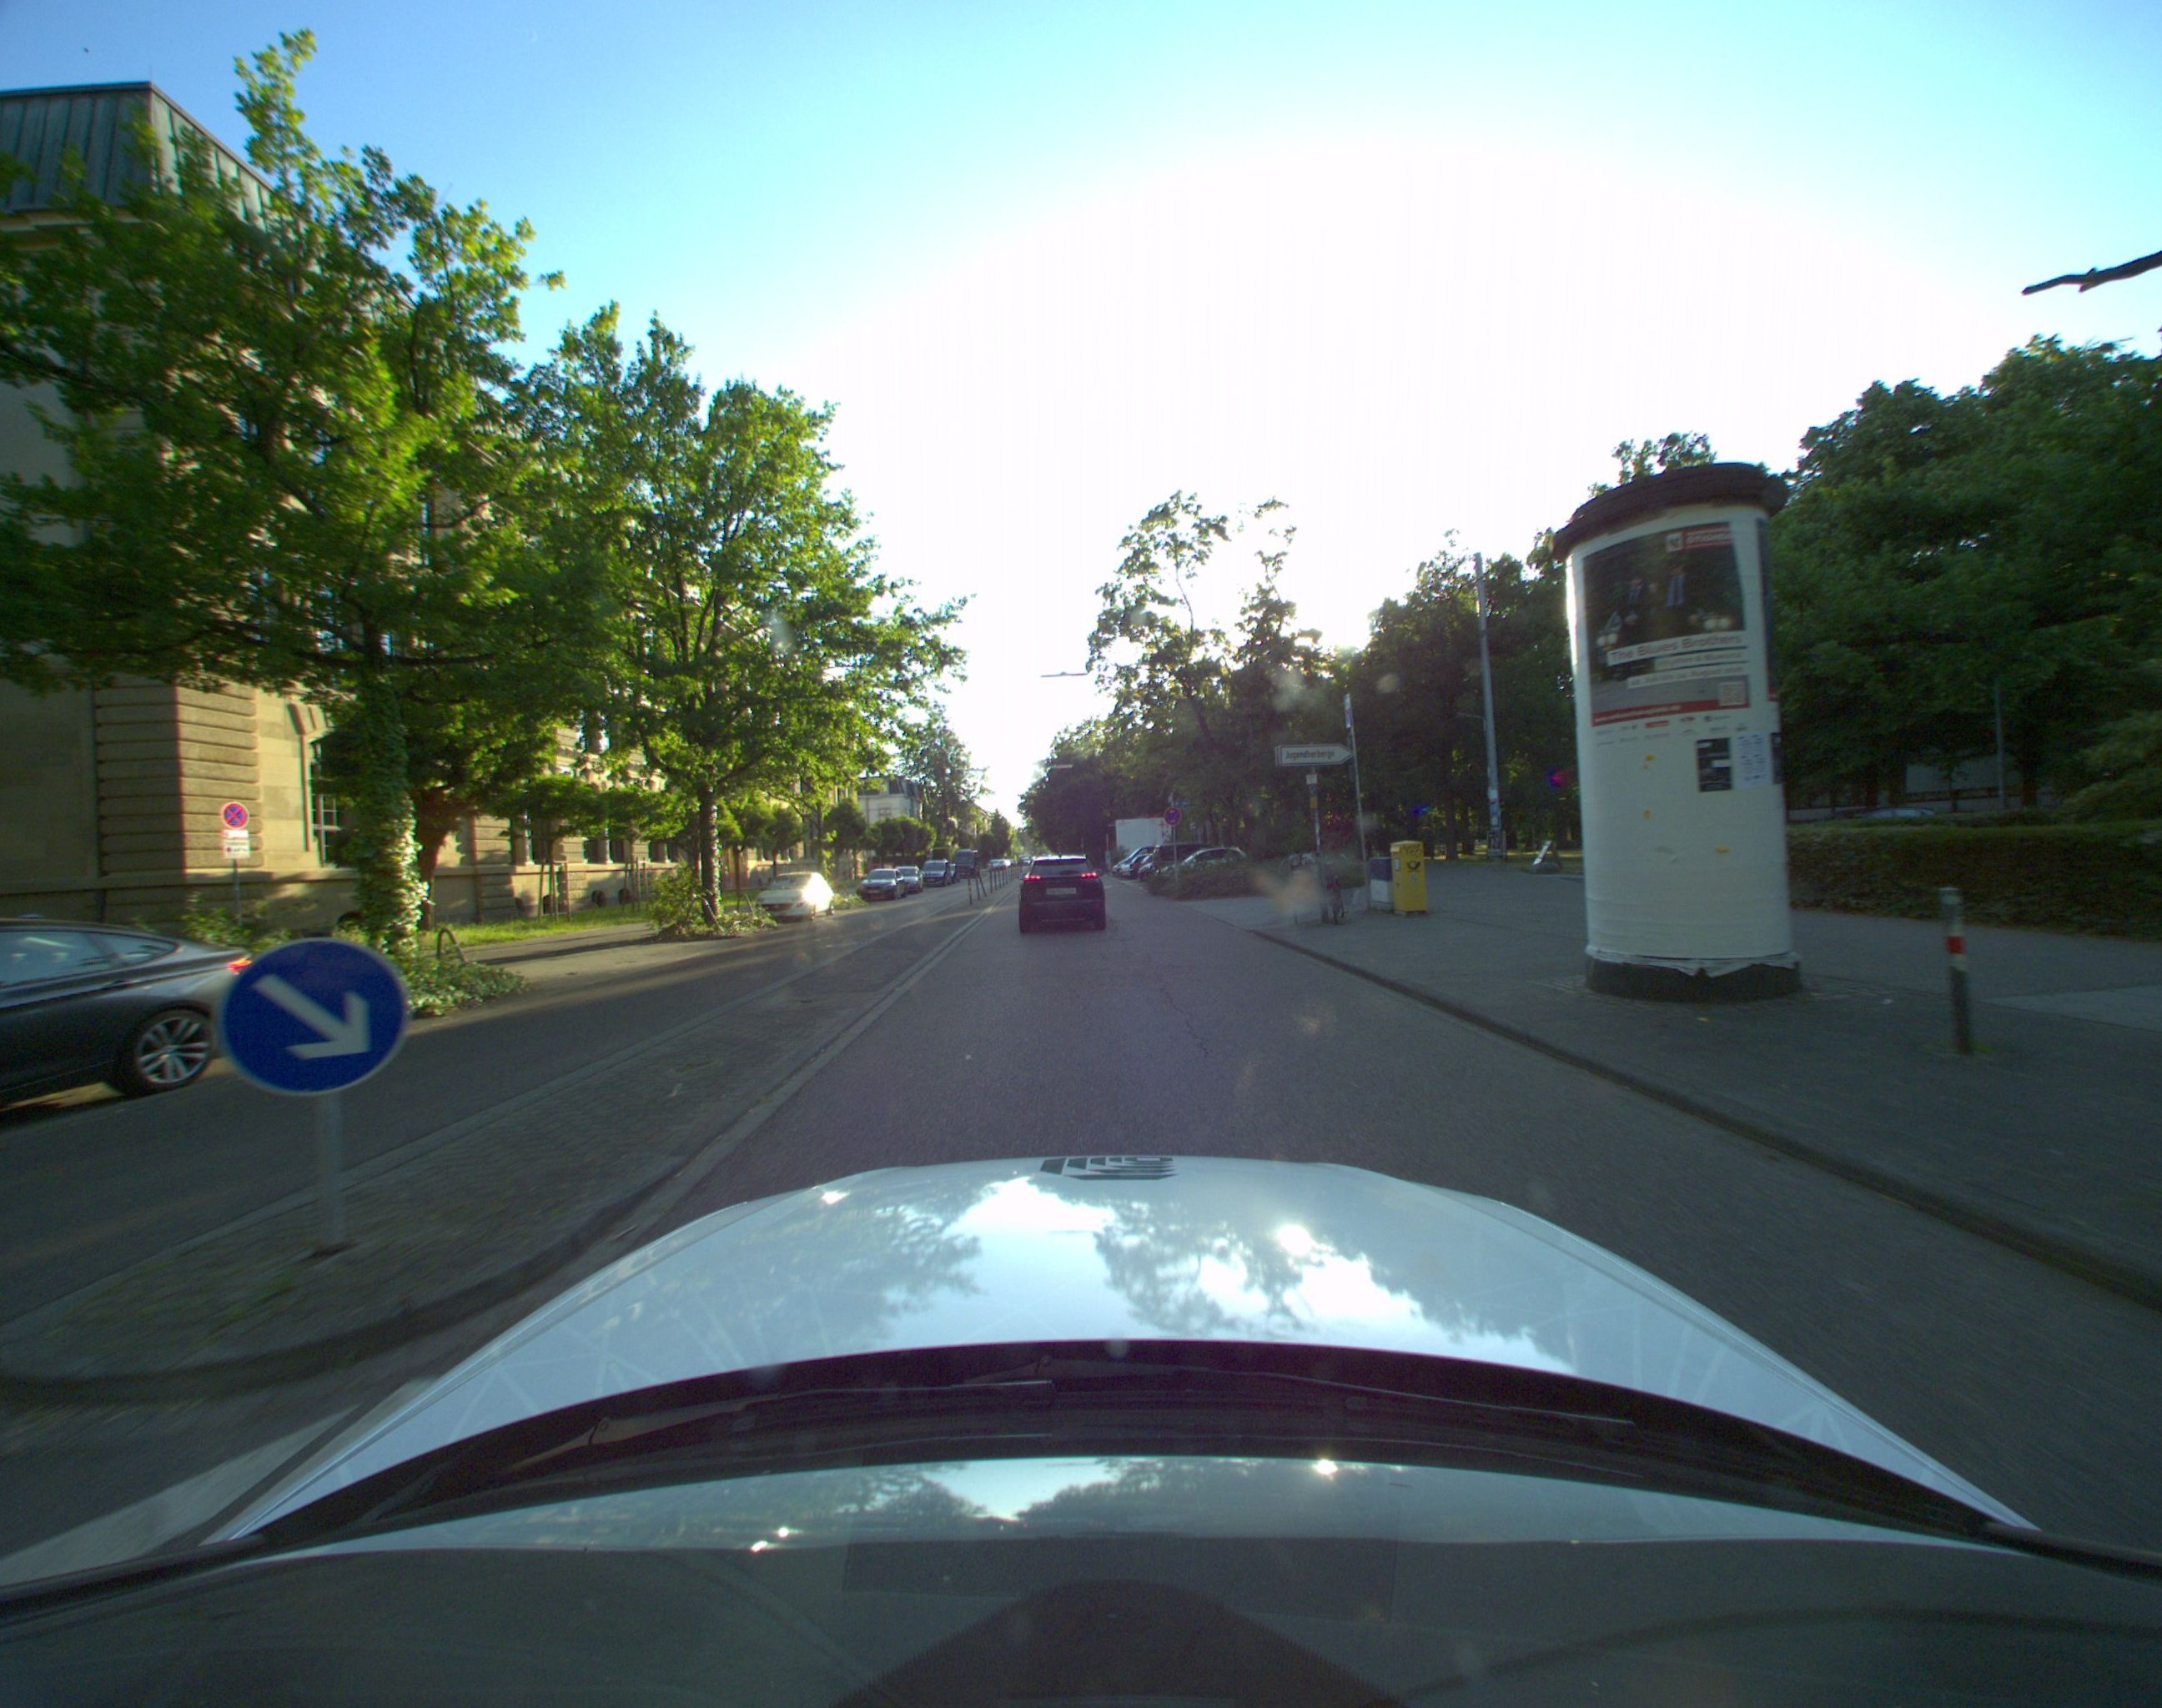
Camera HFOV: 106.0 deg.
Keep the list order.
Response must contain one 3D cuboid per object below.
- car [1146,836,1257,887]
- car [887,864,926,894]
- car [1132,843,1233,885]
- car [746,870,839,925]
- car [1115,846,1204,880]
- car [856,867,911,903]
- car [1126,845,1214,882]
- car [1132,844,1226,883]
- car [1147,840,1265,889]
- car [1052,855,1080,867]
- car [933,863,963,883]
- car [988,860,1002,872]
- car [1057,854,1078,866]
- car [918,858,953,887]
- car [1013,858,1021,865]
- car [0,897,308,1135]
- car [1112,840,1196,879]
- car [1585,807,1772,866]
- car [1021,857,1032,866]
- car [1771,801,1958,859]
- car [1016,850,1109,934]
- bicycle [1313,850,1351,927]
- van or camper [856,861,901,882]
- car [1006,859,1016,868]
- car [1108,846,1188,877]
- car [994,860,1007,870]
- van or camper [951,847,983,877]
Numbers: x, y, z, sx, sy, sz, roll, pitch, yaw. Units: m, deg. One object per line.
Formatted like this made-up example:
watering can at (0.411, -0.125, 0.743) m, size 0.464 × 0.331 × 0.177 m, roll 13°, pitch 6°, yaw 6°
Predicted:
car at (5.155, 0.311, 35.234) m, size 4.354 × 1.780 × 1.918 m, roll -5°, pitch 0°, yaw -3°
car at (-9.755, 1.385, 45.869) m, size 1.717 × 1.496 × 4.366 m, roll -3°, pitch 0°, yaw -7°
car at (4.680, 0.456, 37.960) m, size 4.354 × 1.554 × 1.874 m, roll -5°, pitch 0°, yaw -3°
car at (-9.045, 1.313, 25.858) m, size 1.614 × 1.496 × 3.921 m, roll -3°, pitch 0°, yaw -2°
car at (4.632, 0.544, 48.520) m, size 4.916 × 1.554 × 1.914 m, roll -5°, pitch 0°, yaw -3°
car at (-9.258, 1.407, 38.442) m, size 1.614 × 1.496 × 4.373 m, roll -3°, pitch 0°, yaw -2°
car at (4.758, 0.501, 43.733) m, size 4.354 × 1.537 × 1.918 m, roll -5°, pitch 0°, yaw -3°
car at (4.913, 0.475, 41.239) m, size 4.354 × 1.537 × 1.918 m, roll -5°, pitch 0°, yaw -3°
car at (5.004, 0.404, 32.976) m, size 4.354 × 1.554 × 1.725 m, roll -5°, pitch 0°, yaw -3°
car at (-2.355, 1.092, 127.041) m, size 4.236 × 1.448 × 2.018 m, roll -5°, pitch 0°, yaw -5°
car at (-10.116, 1.446, 62.260) m, size 1.691 × 1.470 × 3.853 m, roll -1°, pitch 0°, yaw 0°
car at (-11.787, 1.635, 111.253) m, size 1.611 × 1.515 × 3.706 m, roll -5°, pitch 0°, yaw -4°
car at (-2.671, 1.169, 158.801) m, size 3.984 × 2.089 × 1.753 m, roll -3°, pitch 0°, yaw -8°
car at (-9.987, 1.257, 56.204) m, size 1.773 × 1.866 × 4.329 m, roll -1°, pitch 0°, yaw -2°
car at (-15.565, 1.915, 198.368) m, size 1.895 × 1.574 × 3.996 m, roll -3°, pitch 0°, yaw -3°
car at (-8.256, 1.188, 5.305) m, size 1.797 × 1.510 × 4.860 m, roll -2°, pitch 0°, yaw -1°
car at (4.527, 0.346, 50.836) m, size 4.842 × 1.915 × 1.914 m, roll -5°, pitch 0°, yaw -3°
car at (17.358, -0.490, 23.781) m, size 4.129 × 1.442 × 1.834 m, roll -3°, pitch 0°, yaw -3°
car at (-10.002, 1.405, 149.903) m, size 1.737 × 1.458 × 4.619 m, roll -4°, pitch 0°, yaw -3°
car at (23.269, -0.688, 24.273) m, size 3.977 × 1.477 × 1.735 m, roll -3°, pitch 0°, yaw -3°
car at (-0.425, 0.726, 17.931) m, size 1.767 × 1.568 × 4.105 m, roll -2°, pitch 0°, yaw -2°
bicycle at (4.517, 0.569, 14.617) m, size 0.488 × 1.148 × 2.296 m, roll -6°, pitch 0°, yaw 18°
van or camper at (-24.195, 2.097, 97.331) m, size 4.754 × 1.985 × 2.000 m, roll -3°, pitch 4°, yaw -1°
car at (-13.223, 1.803, 153.906) m, size 1.749 × 1.413 × 3.759 m, roll -5°, pitch 0°, yaw -4°
car at (4.330, 0.497, 53.373) m, size 4.916 × 1.554 × 1.914 m, roll -5°, pitch 0°, yaw -3°
car at (-11.988, 1.637, 121.524) m, size 1.609 × 1.466 × 4.033 m, roll -4°, pitch 0°, yaw -2°
van or camper at (-10.551, 0.749, 75.661) m, size 2.224 × 2.544 × 7.072 m, roll -2°, pitch 0°, yaw -3°
